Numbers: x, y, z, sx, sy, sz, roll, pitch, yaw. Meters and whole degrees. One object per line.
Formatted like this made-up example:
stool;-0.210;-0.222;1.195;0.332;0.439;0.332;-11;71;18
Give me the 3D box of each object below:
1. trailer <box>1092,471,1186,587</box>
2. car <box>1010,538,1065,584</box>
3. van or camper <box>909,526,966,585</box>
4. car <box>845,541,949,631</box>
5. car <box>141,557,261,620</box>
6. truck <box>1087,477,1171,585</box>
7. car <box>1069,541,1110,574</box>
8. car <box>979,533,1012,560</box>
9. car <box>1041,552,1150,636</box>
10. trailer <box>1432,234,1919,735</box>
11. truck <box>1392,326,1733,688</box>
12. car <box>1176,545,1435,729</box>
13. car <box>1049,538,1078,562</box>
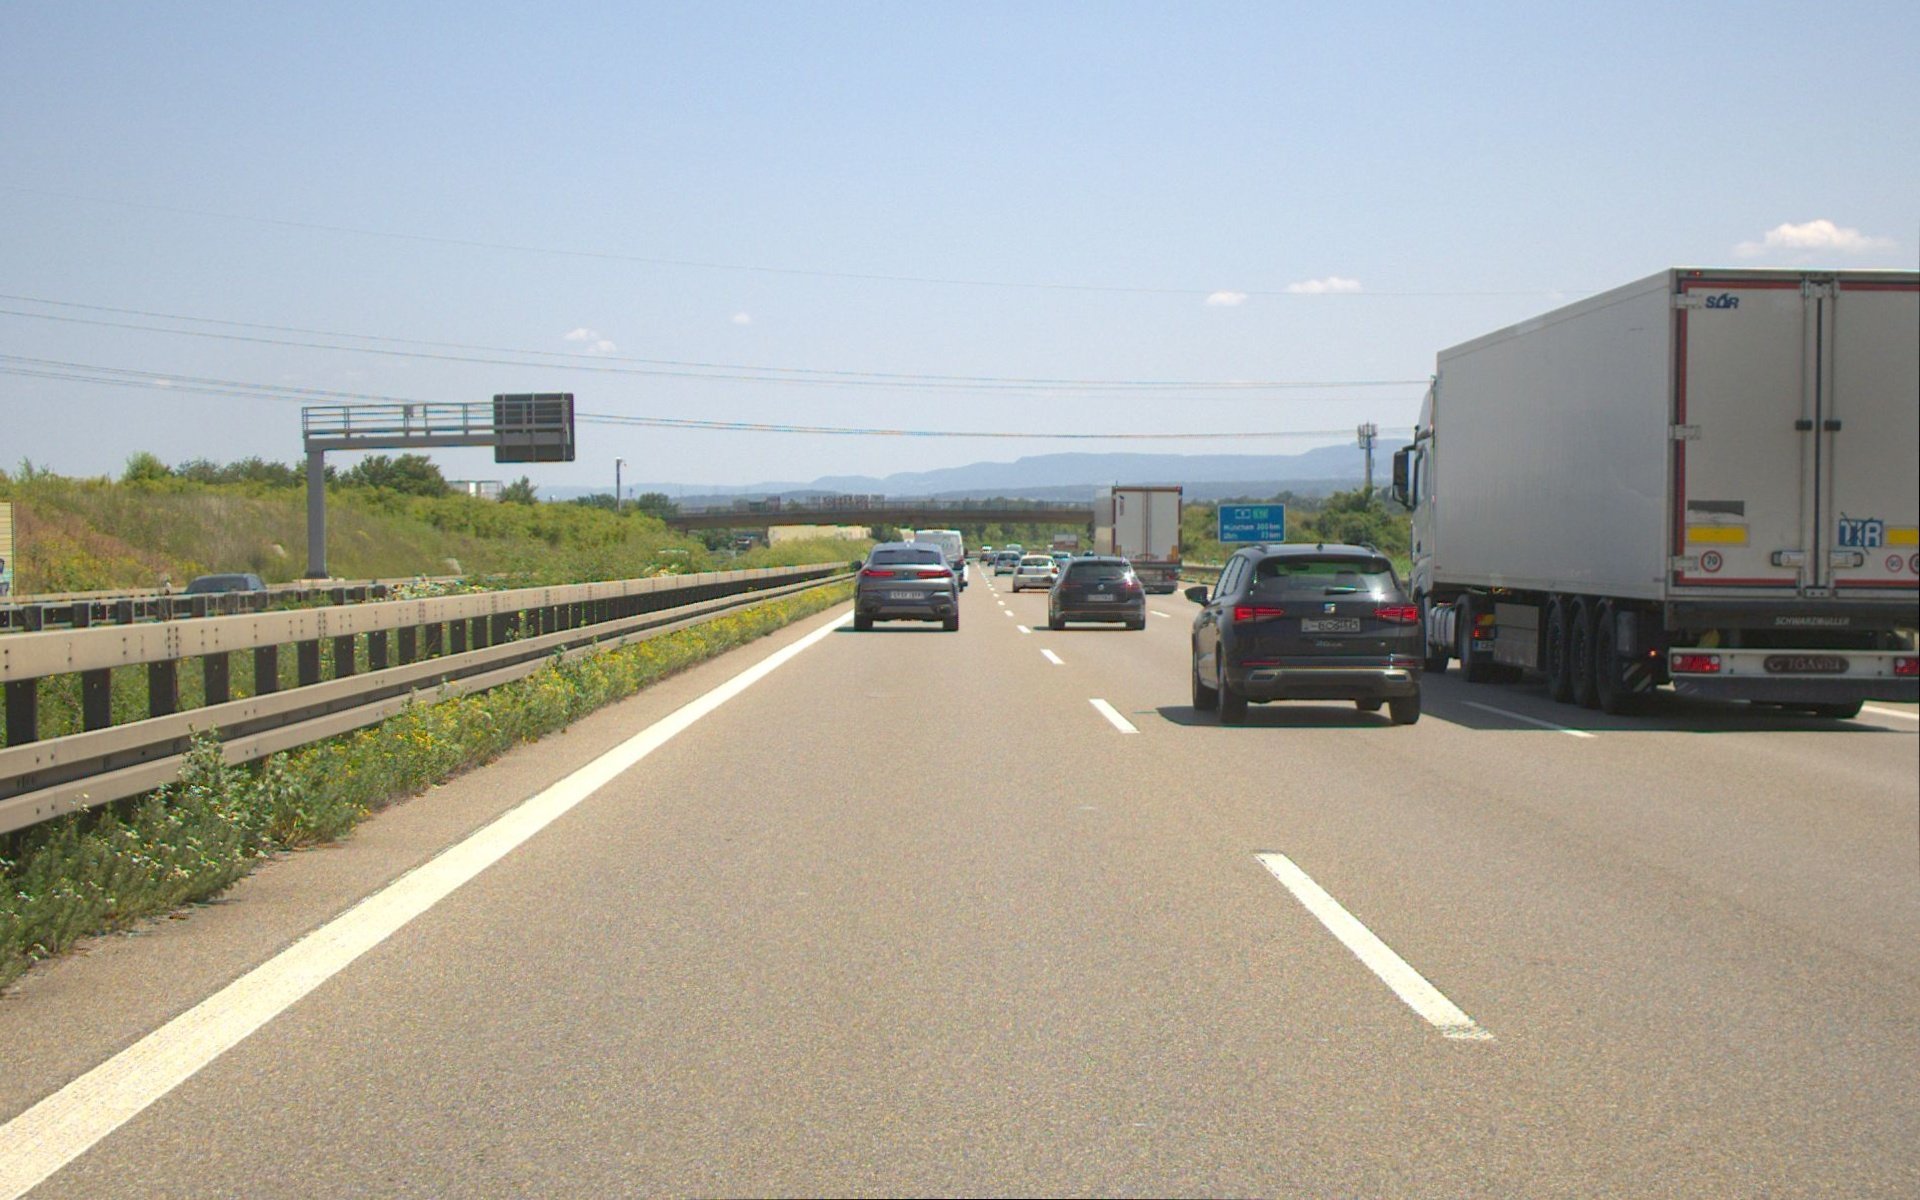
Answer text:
trailer;6.804;-2.668;132.372;2.943;4.184;13.596;1;1;0
car;2.934;-1.473;130.542;1.993;1.677;4.000;1;1;0
van or camper;-0.842;-1.710;132.146;2.110;2.204;5.265;1;1;0
car;-1.233;-0.281;65.690;1.851;1.658;3.735;1;1;-3
car;-17.894;-0.285;81.211;1.993;1.415;4.000;1;1;-1
truck;6.743;-2.744;138.378;2.979;4.213;7.687;1;1;0
car;6.818;-2.247;181.605;1.993;1.677;4.000;1;1;0
car;2.224;-3.356;216.259;1.993;1.677;4.000;1;1;0
car;2.639;-0.143;68.037;1.933;1.569;4.935;1;1;0
trailer;7.322;-1.046;35.737;2.868;4.205;13.295;1;1;0
truck;7.278;-1.095;42.523;2.862;4.077;6.880;1;1;-1
car;3.093;0.298;31.477;1.796;1.556;3.824;1;1;-3
car;7.554;-3.625;250.588;1.993;1.677;4.000;1;1;0
